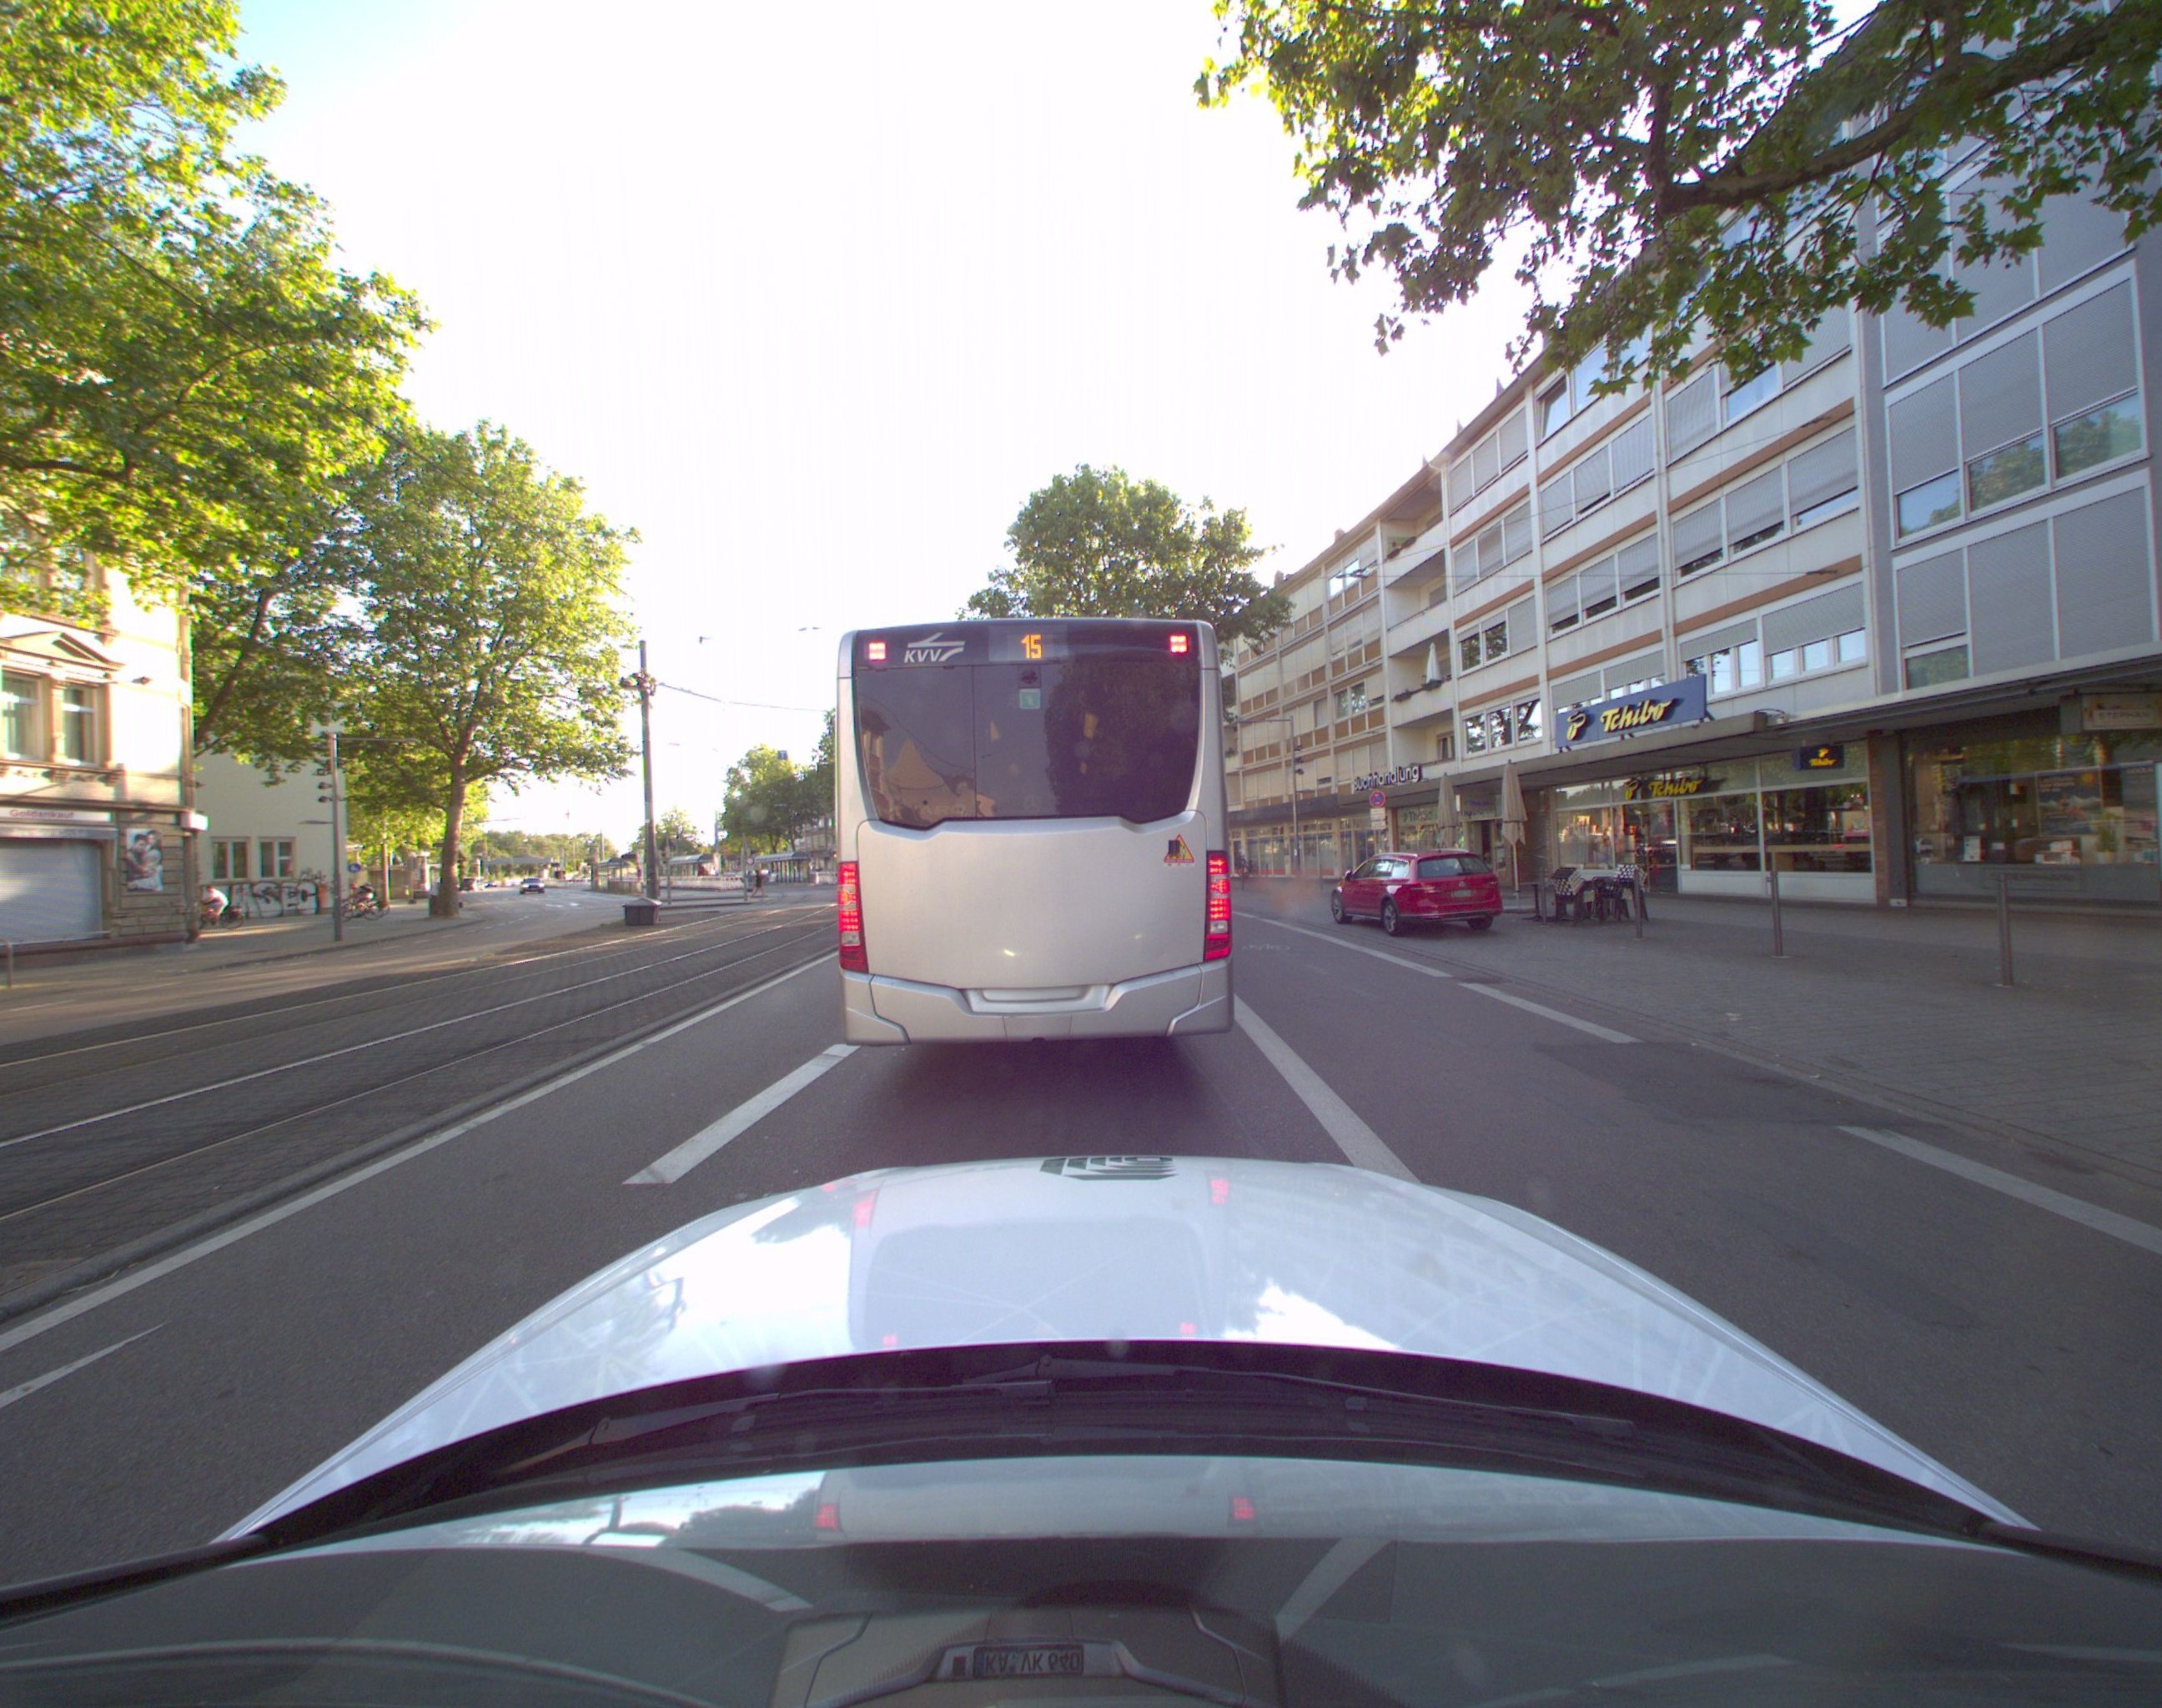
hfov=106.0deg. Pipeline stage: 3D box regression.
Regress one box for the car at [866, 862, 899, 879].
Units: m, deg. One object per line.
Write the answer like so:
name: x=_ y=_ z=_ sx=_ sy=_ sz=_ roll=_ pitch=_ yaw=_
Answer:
car: x=-21.677 y=1.781 z=88.876 sx=2.010 sy=1.792 sz=3.954 roll=0 pitch=-1 yaw=-39

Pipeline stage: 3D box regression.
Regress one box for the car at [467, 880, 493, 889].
car: x=-122.643 y=6.270 z=166.166 sx=1.768 sy=1.640 sz=4.024 roll=-3 pitch=-1 yaw=44

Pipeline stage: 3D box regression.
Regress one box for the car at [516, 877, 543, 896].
car: x=-52.699 y=3.103 z=77.846 sx=2.008 sy=1.640 sz=3.958 roll=-2 pitch=-1 yaw=-33

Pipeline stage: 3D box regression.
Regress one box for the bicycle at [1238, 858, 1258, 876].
bicycle: x=9.304 y=0.719 z=45.437 sx=0.413 sy=0.945 sz=1.431 roll=-2 pitch=-1 yaw=-18

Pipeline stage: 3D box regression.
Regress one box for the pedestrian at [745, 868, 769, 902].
pedestrian: x=-16.564 y=1.562 z=41.611 sx=0.994 sy=1.686 sz=0.642 roll=-1 pitch=-2 yaw=-10

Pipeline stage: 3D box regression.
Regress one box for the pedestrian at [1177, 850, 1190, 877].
pedestrian: x=6.400 y=0.595 z=50.677 sx=0.536 sy=1.648 sz=0.612 roll=-2 pitch=-1 yaw=-15

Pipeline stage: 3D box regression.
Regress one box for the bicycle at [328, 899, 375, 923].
bicycle: x=-32.352 y=2.521 z=36.132 sx=0.445 sy=0.985 sz=1.519 roll=-3 pitch=-1 yaw=43

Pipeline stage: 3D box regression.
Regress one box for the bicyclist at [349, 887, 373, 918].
bicyclist: x=-34.700 y=2.319 z=39.257 sx=0.846 sy=1.444 sz=0.747 roll=-2 pitch=-1 yaw=-42

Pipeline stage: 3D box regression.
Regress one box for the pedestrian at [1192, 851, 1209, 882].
pedestrian: x=6.214 y=0.637 z=42.226 sx=0.646 sy=1.581 sz=0.557 roll=-2 pitch=-1 yaw=-14

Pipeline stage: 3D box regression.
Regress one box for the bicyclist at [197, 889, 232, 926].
bicyclist: x=-35.440 y=2.182 z=33.307 sx=0.619 sy=1.444 sz=0.847 roll=-3 pitch=-1 yaw=33

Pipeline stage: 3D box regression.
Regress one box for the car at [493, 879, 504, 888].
car: x=-117.804 y=6.036 z=164.702 sx=1.858 sy=1.684 sz=3.676 roll=-2 pitch=-1 yaw=-35

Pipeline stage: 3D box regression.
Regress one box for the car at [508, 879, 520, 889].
car: x=-111.423 y=5.850 z=160.041 sx=1.858 sy=1.684 sz=3.677 roll=-4 pitch=1 yaw=-35

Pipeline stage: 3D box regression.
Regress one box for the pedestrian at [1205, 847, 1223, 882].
pedestrian: x=6.631 y=0.536 z=40.482 sx=0.646 sy=1.717 sz=0.557 roll=-2 pitch=-1 yaw=-14

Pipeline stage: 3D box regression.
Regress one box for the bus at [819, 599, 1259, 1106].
bus: x=-0.109 y=0.021 z=9.928 sx=2.621 sy=3.028 sz=10.000 roll=-1 pitch=0 yaw=2

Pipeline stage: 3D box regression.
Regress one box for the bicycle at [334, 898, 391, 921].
bicycle: x=-34.646 y=2.664 z=39.286 sx=2.036 sy=0.937 sz=0.751 roll=-2 pitch=-1 yaw=-42

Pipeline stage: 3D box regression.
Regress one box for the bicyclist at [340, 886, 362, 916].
bicyclist: x=-32.386 y=2.066 z=36.128 sx=0.451 sy=1.293 sz=0.644 roll=-3 pitch=-1 yaw=43

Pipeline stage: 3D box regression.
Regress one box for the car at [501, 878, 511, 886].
car: x=-130.065 y=6.417 z=184.223 sx=1.858 sy=1.684 sz=3.676 roll=-2 pitch=-1 yaw=-35

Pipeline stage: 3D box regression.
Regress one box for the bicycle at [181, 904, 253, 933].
bicycle: x=-35.381 y=2.618 z=33.373 sx=0.612 sy=1.005 sz=1.926 roll=-3 pitch=-1 yaw=33

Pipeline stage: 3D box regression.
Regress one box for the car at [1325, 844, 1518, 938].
car: x=6.374 y=0.635 z=15.846 sx=1.765 sy=1.482 sz=4.300 roll=-3 pitch=0 yaw=-2

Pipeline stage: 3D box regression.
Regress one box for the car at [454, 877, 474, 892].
car: x=-82.047 y=4.068 z=108.332 sx=1.807 sy=1.796 sz=3.957 roll=-2 pitch=-1 yaw=-34
